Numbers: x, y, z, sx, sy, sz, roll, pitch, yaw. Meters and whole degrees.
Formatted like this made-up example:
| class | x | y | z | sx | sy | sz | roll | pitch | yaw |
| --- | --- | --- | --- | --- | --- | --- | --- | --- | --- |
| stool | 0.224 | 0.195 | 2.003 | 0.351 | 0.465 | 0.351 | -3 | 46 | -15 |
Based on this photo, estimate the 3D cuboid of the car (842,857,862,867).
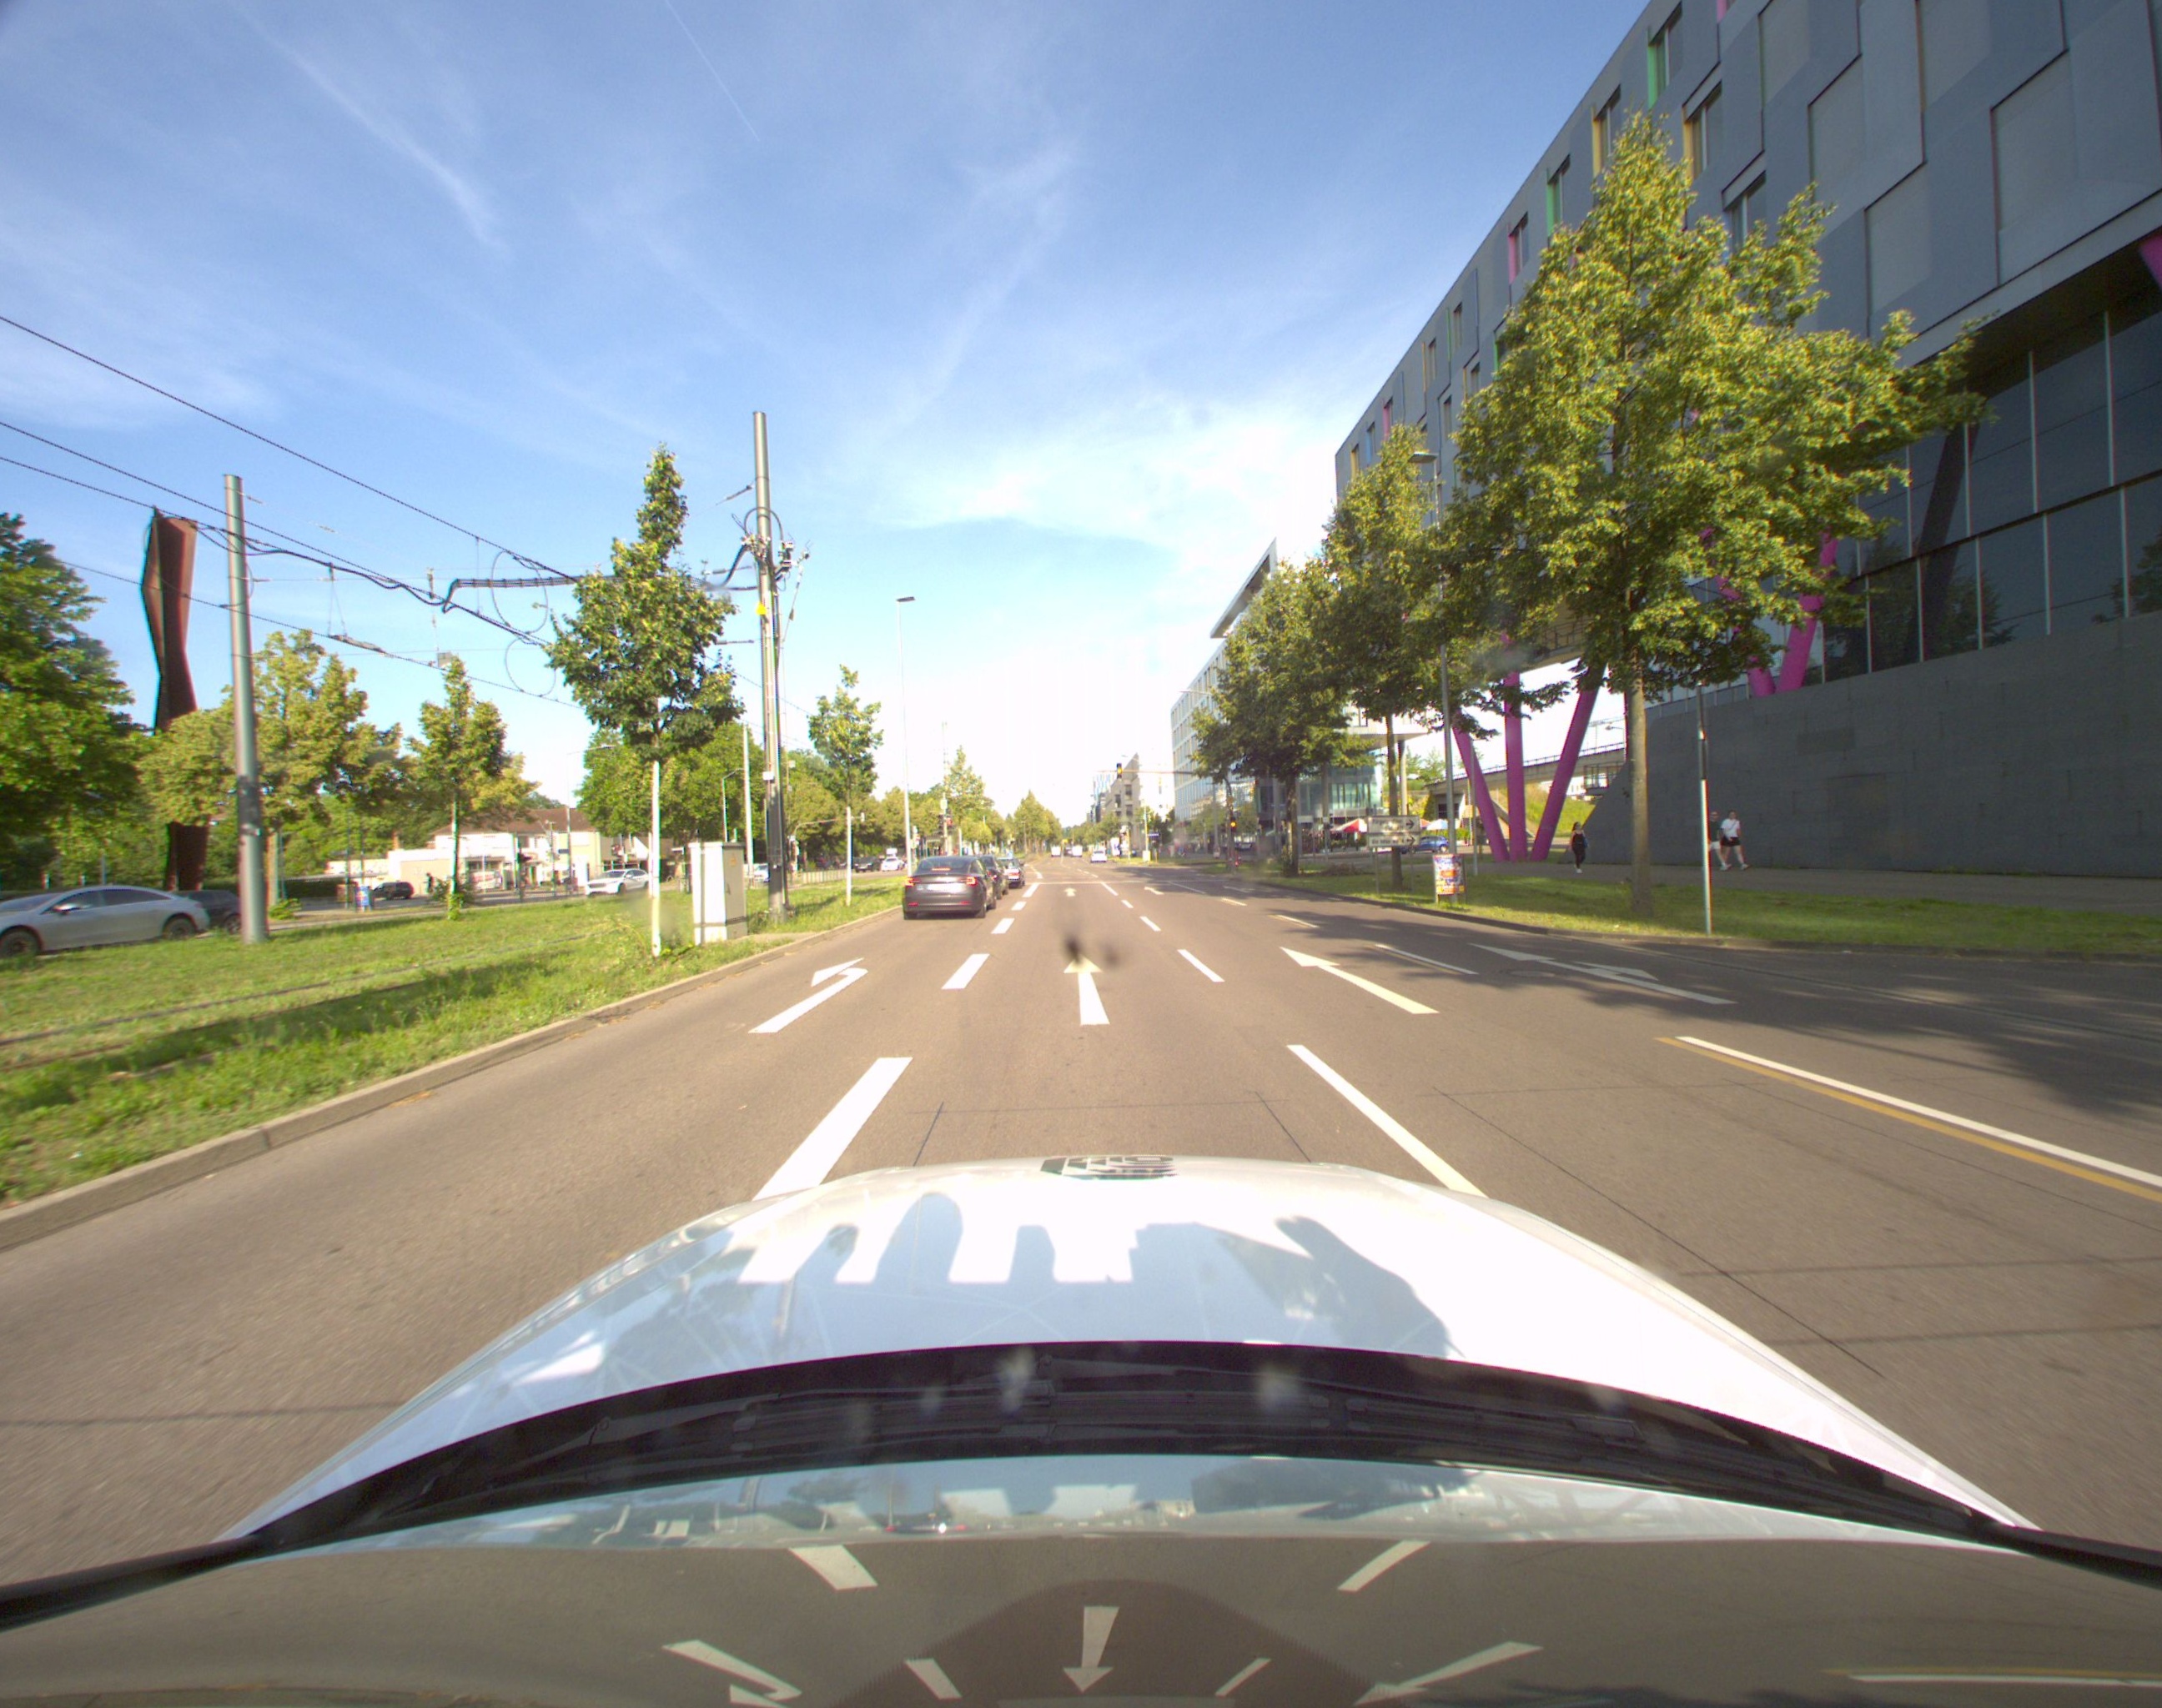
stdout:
| class | x | y | z | sx | sy | sz | roll | pitch | yaw |
| --- | --- | --- | --- | --- | --- | --- | --- | --- | --- |
| car | -38.646 | 1.298 | 137.302 | 1.873 | 1.559 | 4.005 | -3 | 0 | 4 |

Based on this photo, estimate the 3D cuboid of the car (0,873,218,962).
| class | x | y | z | sx | sy | sz | roll | pitch | yaw |
| --- | --- | --- | --- | --- | --- | --- | --- | --- | --- |
| car | -21.321 | 1.327 | 16.865 | 1.993 | 1.527 | 4.898 | -6 | 1 | -9 |

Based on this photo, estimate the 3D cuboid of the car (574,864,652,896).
| class | x | y | z | sx | sy | sz | roll | pitch | yaw |
| --- | --- | --- | --- | --- | --- | --- | --- | --- | --- |
| car | -26.804 | 1.455 | 46.873 | 1.900 | 1.527 | 4.440 | -2 | 1 | -1 |

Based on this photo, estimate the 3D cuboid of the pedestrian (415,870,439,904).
| class | x | y | z | sx | sy | sz | roll | pitch | yaw |
| --- | --- | --- | --- | --- | --- | --- | --- | --- | --- |
| pedestrian | -42.182 | 2.144 | 52.539 | 0.715 | 2.107 | 0.887 | -4 | 1 | 28 |

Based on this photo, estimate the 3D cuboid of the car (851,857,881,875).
| class | x | y | z | sx | sy | sz | roll | pitch | yaw |
| --- | --- | --- | --- | --- | --- | --- | --- | --- | --- |
| car | -23.820 | 1.293 | 90.420 | 1.988 | 1.684 | 4.992 | -2 | 1 | -1 |

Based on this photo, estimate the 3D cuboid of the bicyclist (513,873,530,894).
| class | x | y | z | sx | sy | sz | roll | pitch | yaw |
| --- | --- | --- | --- | --- | --- | --- | --- | --- | --- |
| bicyclist | -40.553 | 2.121 | 59.018 | 0.851 | 1.493 | 0.694 | -3 | 0 | -24 |

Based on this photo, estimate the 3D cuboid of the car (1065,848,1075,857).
| class | x | y | z | sx | sy | sz | roll | pitch | yaw |
| --- | --- | --- | --- | --- | --- | --- | --- | --- | --- |
| car | -2.211 | -0.309 | 166.893 | 1.918 | 1.684 | 3.999 | -1 | 1 | -1 |

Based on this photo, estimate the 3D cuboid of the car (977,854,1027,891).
| class | x | y | z | sx | sy | sz | roll | pitch | yaw |
| --- | --- | --- | --- | --- | --- | --- | --- | --- | --- |
| car | -3.194 | 0.725 | 33.489 | 1.759 | 1.330 | 4.397 | -1 | 1 | -2 |

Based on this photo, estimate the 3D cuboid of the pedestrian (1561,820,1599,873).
| class | x | y | z | sx | sy | sz | roll | pitch | yaw |
| --- | --- | --- | --- | --- | --- | --- | --- | --- | --- |
| pedestrian | 16.306 | -0.245 | 26.620 | 0.692 | 1.638 | 0.736 | -4 | 0 | -2 |

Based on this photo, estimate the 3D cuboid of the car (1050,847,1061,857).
| class | x | y | z | sx | sy | sz | roll | pitch | yaw |
| --- | --- | --- | --- | --- | --- | --- | --- | --- | --- |
| car | -4.714 | -0.375 | 152.844 | 2.009 | 1.684 | 3.999 | -1 | 1 | -1 |

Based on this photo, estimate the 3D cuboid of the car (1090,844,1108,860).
| class | x | y | z | sx | sy | sz | roll | pitch | yaw |
| --- | --- | --- | --- | --- | --- | --- | --- | --- | --- |
| car | 2.010 | -0.232 | 92.350 | 1.858 | 1.684 | 3.999 | -1 | 1 | -1 |

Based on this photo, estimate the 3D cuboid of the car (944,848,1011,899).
| class | x | y | z | sx | sy | sz | roll | pitch | yaw |
| --- | --- | --- | --- | --- | --- | --- | --- | --- | --- |
| car | -3.355 | 0.587 | 27.022 | 1.782 | 1.478 | 4.351 | -1 | 1 | -2 |

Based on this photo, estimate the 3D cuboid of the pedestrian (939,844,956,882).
| class | x | y | z | sx | sy | sz | roll | pitch | yaw |
| --- | --- | --- | --- | --- | --- | --- | --- | --- | --- |
| pedestrian | -6.453 | 0.433 | 39.377 | 0.697 | 1.792 | 0.635 | -1 | 0 | -1 |

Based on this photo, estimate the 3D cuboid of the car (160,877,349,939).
| class | x | y | z | sx | sy | sz | roll | pitch | yaw |
| --- | --- | --- | --- | --- | --- | --- | --- | --- | --- |
| car | -27.016 | 1.692 | 26.848 | 1.903 | 1.634 | 4.178 | -2 | 1 | -1 |

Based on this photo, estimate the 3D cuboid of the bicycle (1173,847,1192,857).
| class | x | y | z | sx | sy | sz | roll | pitch | yaw |
| --- | --- | --- | --- | --- | --- | --- | --- | --- | --- |
| bicycle | 10.947 | -0.236 | 88.031 | 0.778 | 1.032 | 1.855 | -2 | 0 | -45 |

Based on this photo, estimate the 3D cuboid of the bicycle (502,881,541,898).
| class | x | y | z | sx | sy | sz | roll | pitch | yaw |
| --- | --- | --- | --- | --- | --- | --- | --- | --- | --- |
| bicycle | -40.545 | 2.574 | 59.012 | 2.205 | 1.041 | 0.694 | -3 | 0 | -24 |

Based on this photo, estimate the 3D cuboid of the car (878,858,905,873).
| class | x | y | z | sx | sy | sz | roll | pitch | yaw |
| --- | --- | --- | --- | --- | --- | --- | --- | --- | --- |
| car | -20.424 | 1.179 | 88.110 | 1.988 | 1.504 | 4.091 | -2 | 0 | -1 |

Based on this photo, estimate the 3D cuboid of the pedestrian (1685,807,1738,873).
| class | x | y | z | sx | sy | sz | roll | pitch | yaw |
| --- | --- | --- | --- | --- | --- | --- | --- | --- | --- |
| pedestrian | 17.980 | -0.389 | 23.235 | 0.752 | 1.793 | 0.843 | -4 | 0 | -2 |

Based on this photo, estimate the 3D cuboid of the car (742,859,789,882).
| class | x | y | z | sx | sy | sz | roll | pitch | yaw |
| --- | --- | --- | --- | --- | --- | --- | --- | --- | --- |
| car | -23.797 | 1.237 | 61.676 | 1.989 | 1.527 | 4.308 | -2 | 1 | -3 |

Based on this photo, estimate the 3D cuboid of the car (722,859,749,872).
| class | x | y | z | sx | sy | sz | roll | pitch | yaw |
| --- | --- | --- | --- | --- | --- | --- | --- | --- | --- |
| car | -48.457 | 1.617 | 114.335 | 1.873 | 1.559 | 4.005 | -3 | 0 | 4 |

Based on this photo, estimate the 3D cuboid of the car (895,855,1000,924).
| class | x | y | z | sx | sy | sz | roll | pitch | yaw |
| --- | --- | --- | --- | --- | --- | --- | --- | --- | --- |
| car | -3.084 | 0.757 | 19.686 | 1.884 | 1.385 | 4.333 | -1 | 1 | -1 |

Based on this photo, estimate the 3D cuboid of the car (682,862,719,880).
| class | x | y | z | sx | sy | sz | roll | pitch | yaw |
| --- | --- | --- | --- | --- | --- | --- | --- | --- | --- |
| car | -41.536 | 1.835 | 88.987 | 1.873 | 1.750 | 4.005 | -3 | 0 | 4 |

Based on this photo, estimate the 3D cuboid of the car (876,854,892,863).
| class | x | y | z | sx | sy | sz | roll | pitch | yaw |
| --- | --- | --- | --- | --- | --- | --- | --- | --- | --- |
| car | -37.480 | 0.823 | 154.896 | 1.873 | 1.559 | 4.005 | -3 | 0 | 4 |

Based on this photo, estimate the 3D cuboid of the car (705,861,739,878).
| class | x | y | z | sx | sy | sz | roll | pitch | yaw |
| --- | --- | --- | --- | --- | --- | --- | --- | --- | --- |
| car | -41.272 | 1.752 | 93.754 | 1.873 | 1.750 | 4.005 | -3 | 0 | 4 |

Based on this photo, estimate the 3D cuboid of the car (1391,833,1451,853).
| class | x | y | z | sx | sy | sz | roll | pitch | yaw |
| --- | --- | --- | --- | --- | --- | --- | --- | --- | --- |
| car | 28.225 | -0.950 | 67.655 | 4.174 | 1.424 | 1.858 | -3 | 1 | -3 |

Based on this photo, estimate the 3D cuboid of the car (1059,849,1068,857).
| class | x | y | z | sx | sy | sz | roll | pitch | yaw |
| --- | --- | --- | --- | --- | --- | --- | --- | --- | --- |
| car | -3.989 | -0.330 | 181.085 | 1.919 | 1.684 | 3.997 | -1 | 1 | -2 |

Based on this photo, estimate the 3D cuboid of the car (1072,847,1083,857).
| class | x | y | z | sx | sy | sz | roll | pitch | yaw |
| --- | --- | --- | --- | --- | --- | --- | --- | --- | --- |
| car | -0.589 | -0.342 | 141.641 | 1.858 | 1.684 | 3.999 | -1 | 1 | -1 |

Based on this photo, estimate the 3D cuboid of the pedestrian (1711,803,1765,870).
| class | x | y | z | sx | sy | sz | roll | pitch | yaw |
| --- | --- | --- | --- | --- | --- | --- | --- | --- | --- |
| pedestrian | 18.600 | -0.481 | 23.068 | 0.766 | 1.825 | 0.852 | -3 | 0 | -2 |
